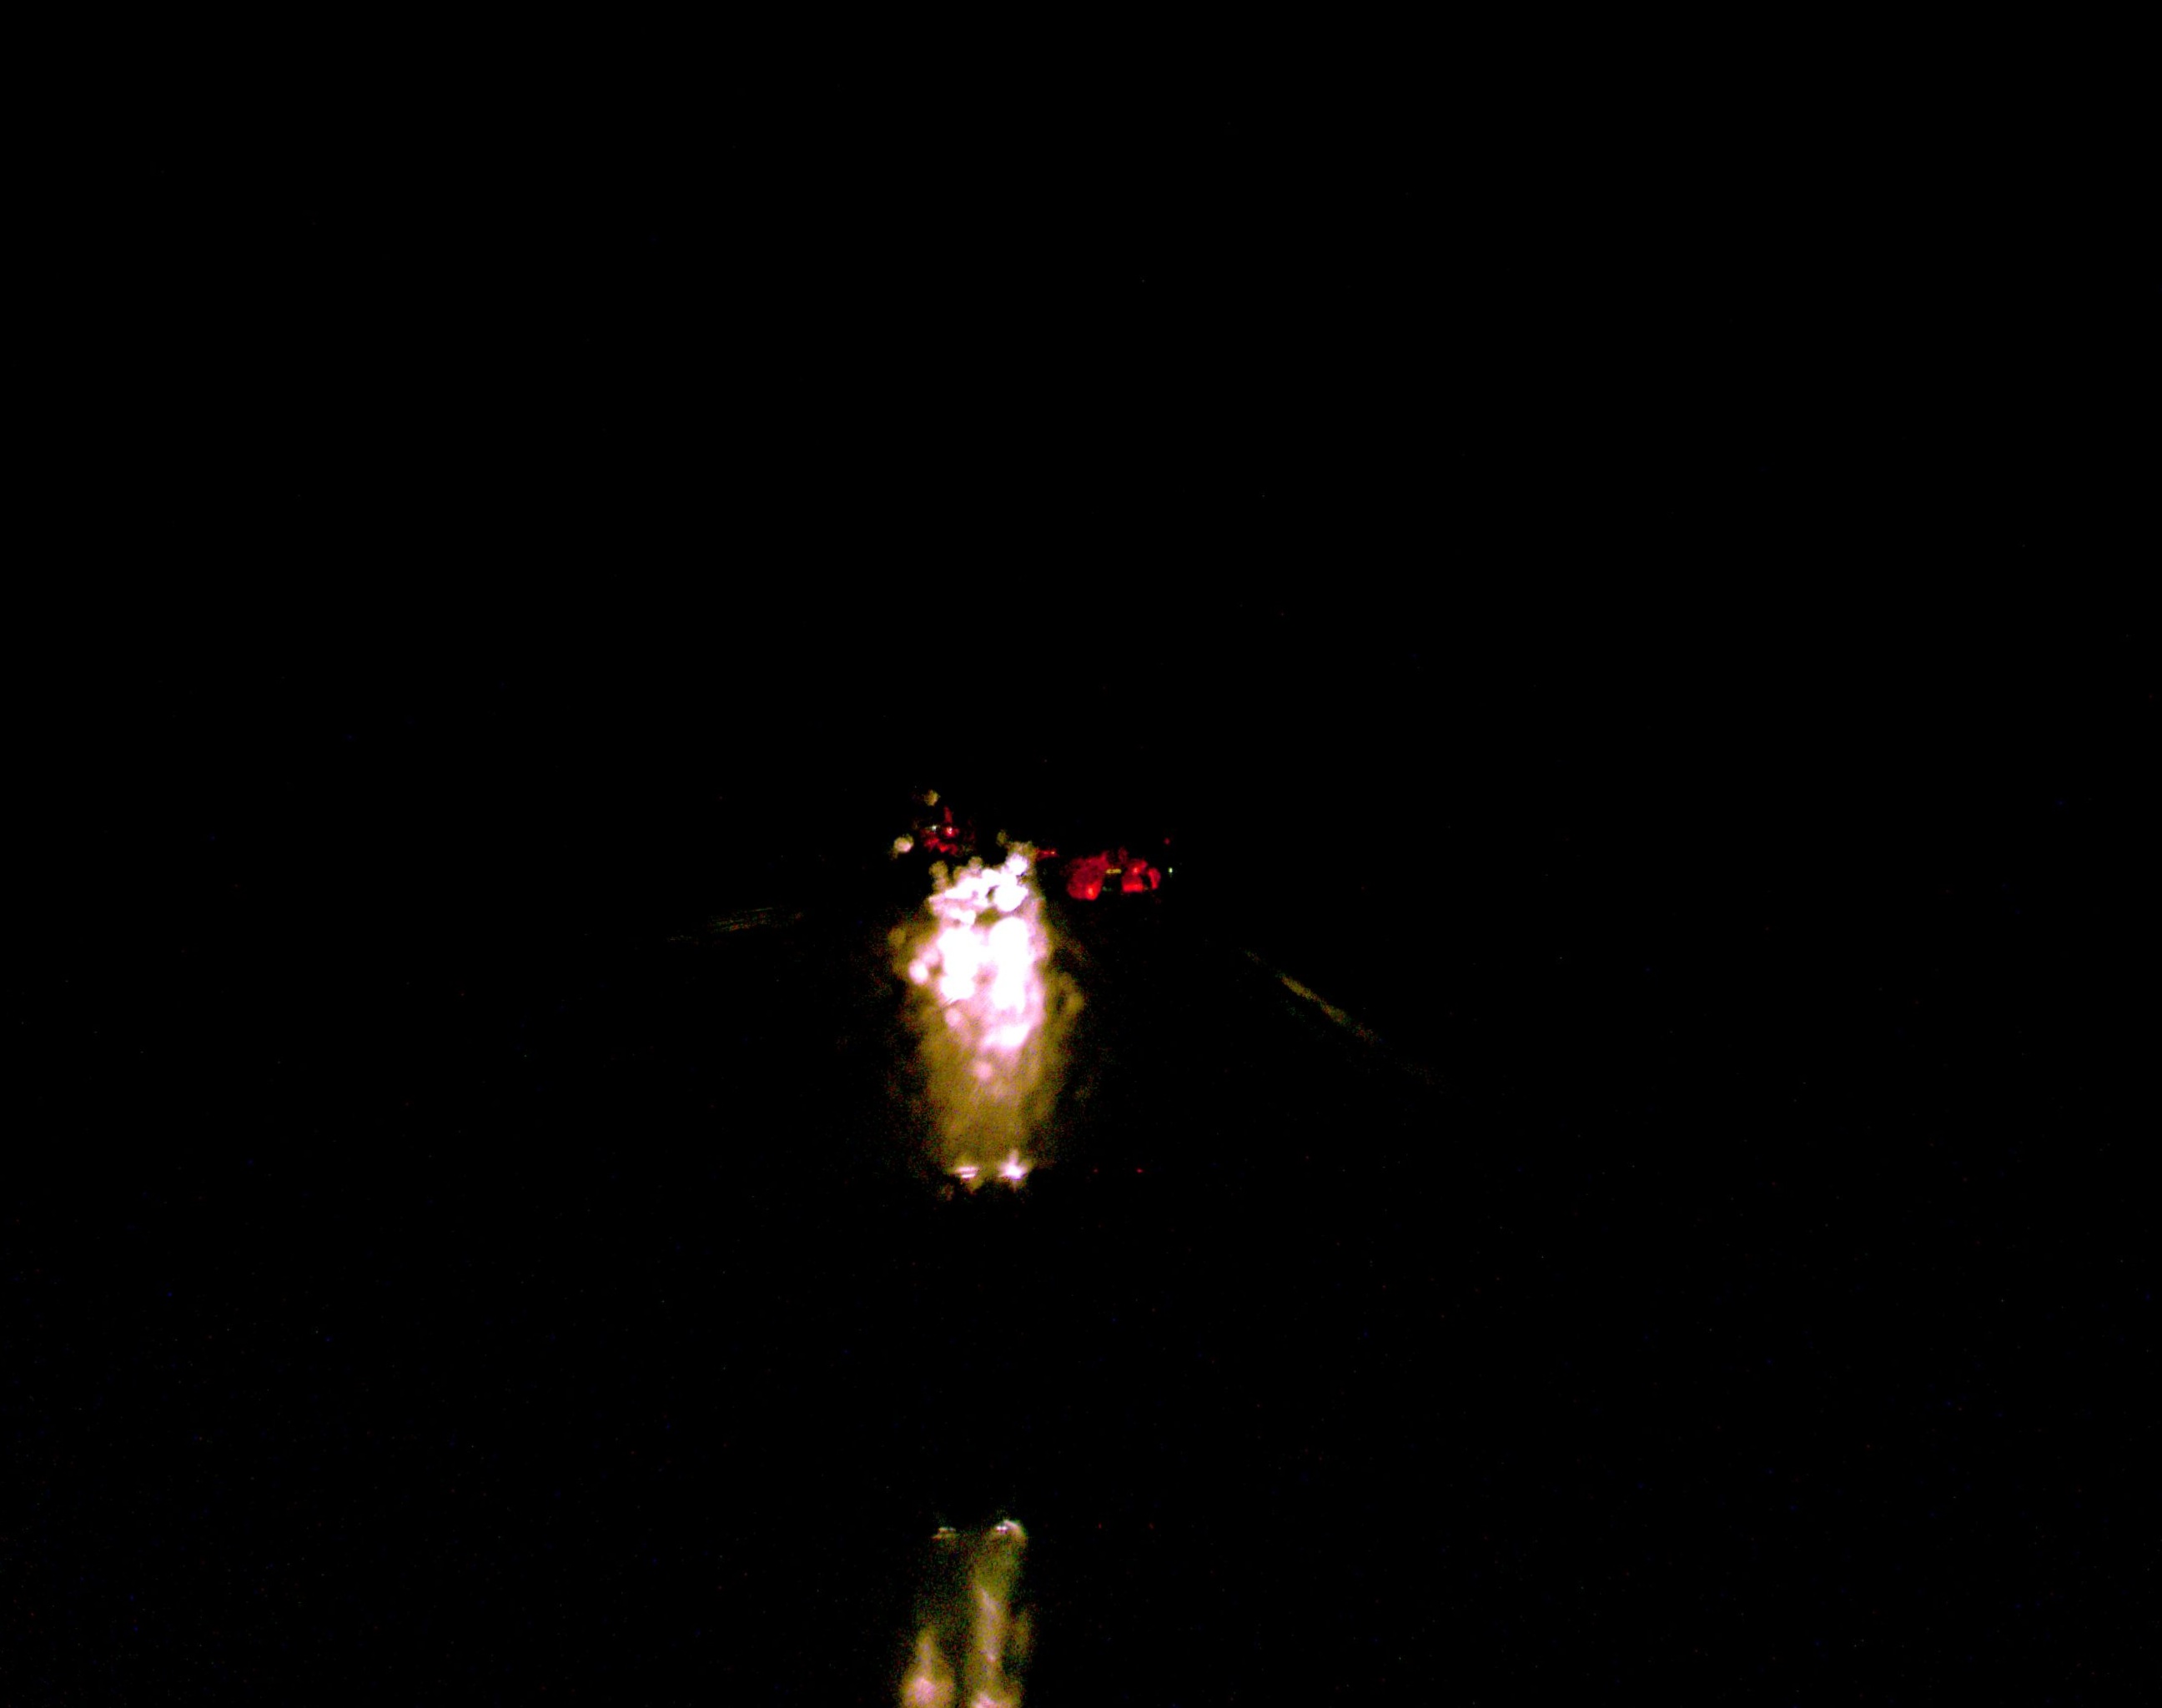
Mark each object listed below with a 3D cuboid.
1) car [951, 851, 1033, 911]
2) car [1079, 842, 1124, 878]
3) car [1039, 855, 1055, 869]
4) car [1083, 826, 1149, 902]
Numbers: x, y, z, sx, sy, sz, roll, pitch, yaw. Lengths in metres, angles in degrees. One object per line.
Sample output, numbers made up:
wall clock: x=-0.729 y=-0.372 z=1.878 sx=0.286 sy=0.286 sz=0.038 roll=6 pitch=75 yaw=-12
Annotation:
car: x=-2.423 y=0.731 z=23.185 sx=1.915 sy=1.471 sz=4.570 roll=-2 pitch=-1 yaw=-2
car: x=1.683 y=0.404 z=65.289 sx=3.369 sy=2.557 sz=7.340 roll=1 pitch=2 yaw=2
car: x=-5.241 y=1.232 z=125.546 sx=1.986 sy=2.013 sz=4.001 roll=-5 pitch=0 yaw=2
car: x=1.259 y=0.271 z=29.708 sx=2.173 sy=2.557 sz=4.510 roll=1 pitch=2 yaw=2
